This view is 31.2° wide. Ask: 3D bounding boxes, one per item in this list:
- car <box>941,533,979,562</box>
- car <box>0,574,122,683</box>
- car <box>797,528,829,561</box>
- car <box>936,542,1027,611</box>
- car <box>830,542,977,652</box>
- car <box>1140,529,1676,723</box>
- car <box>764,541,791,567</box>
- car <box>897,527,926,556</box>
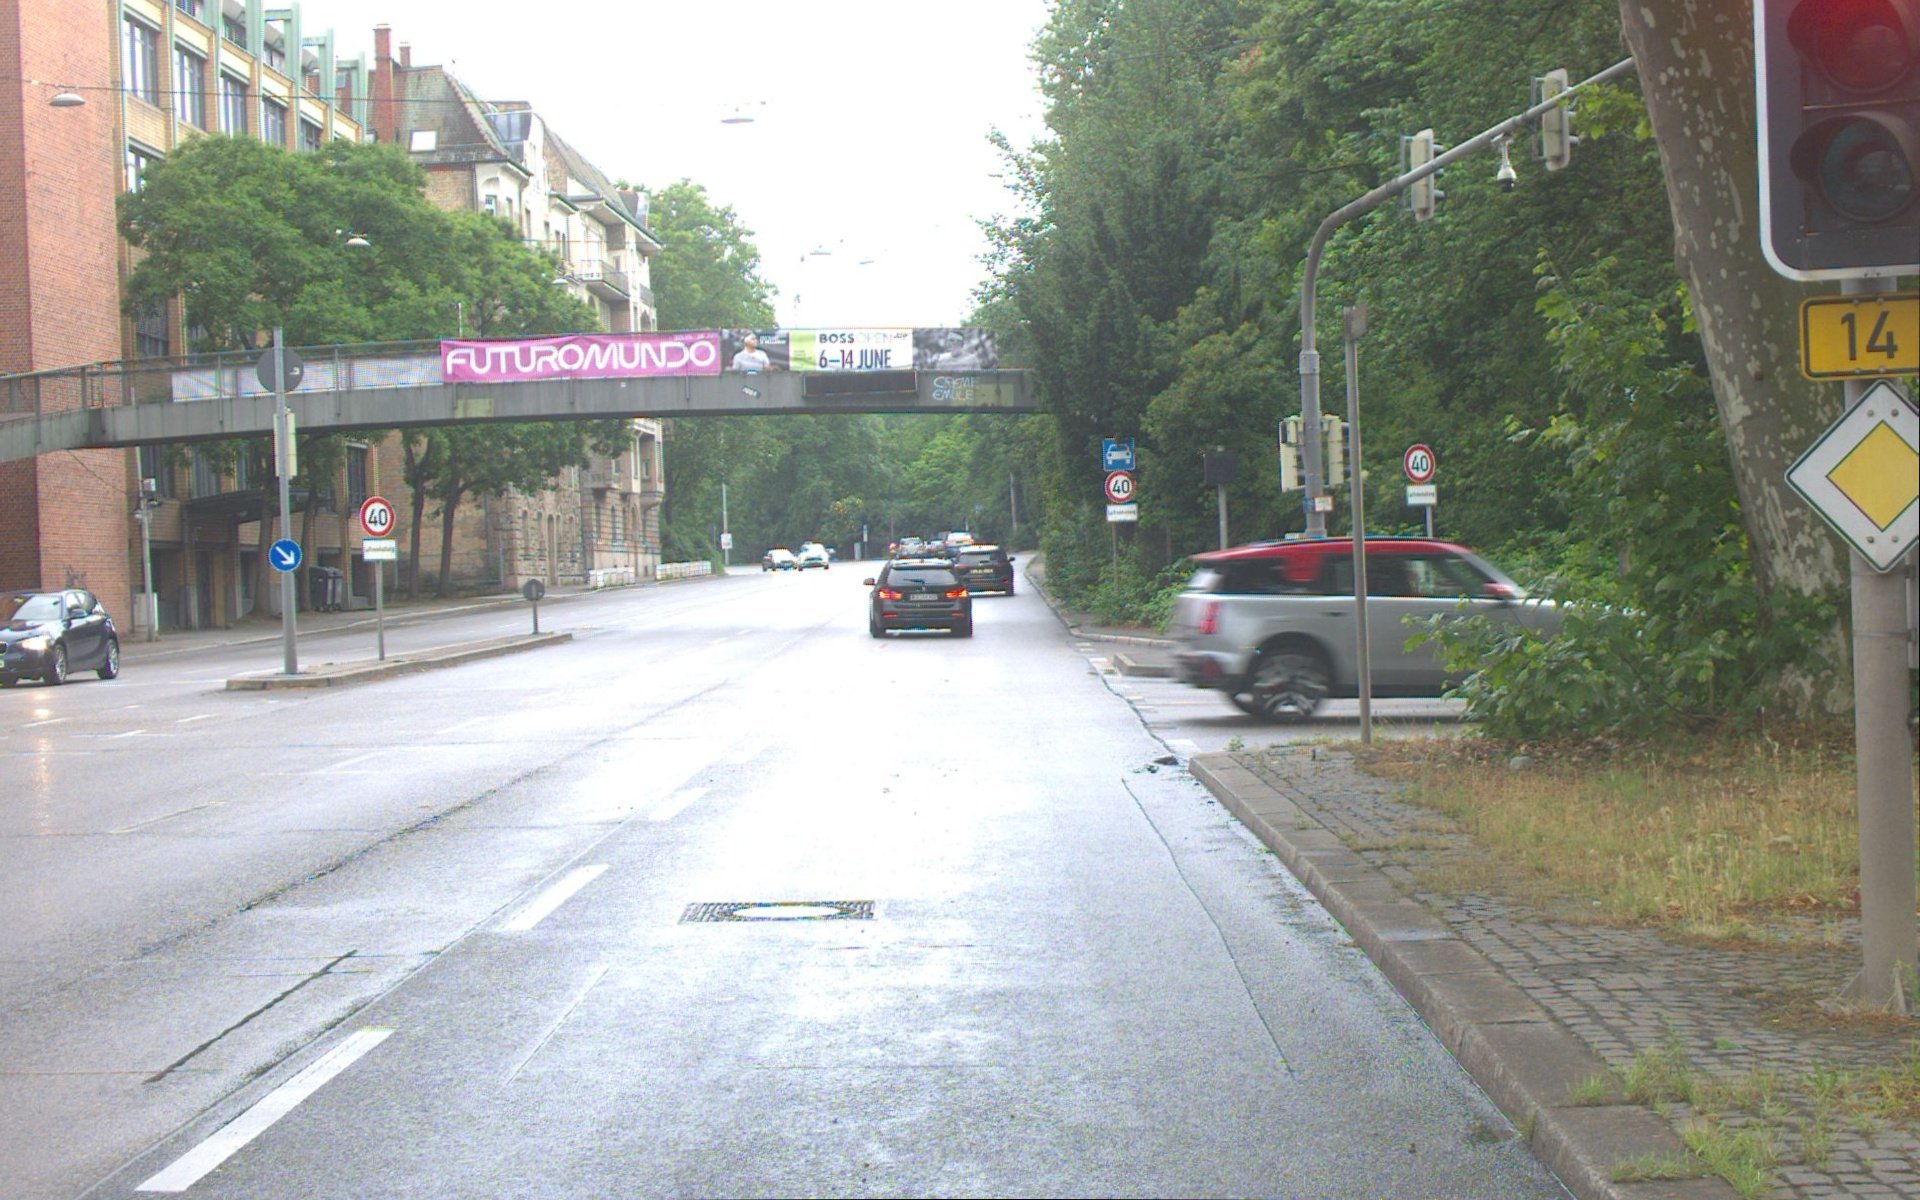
[{"bbox_3d":[-0.004,-3.194,208.439,2.120,1.729,4.199,0,2,-3],"label":"car"},{"bbox_3d":[-13.883,0.408,50.797,1.993,1.514,4.000,-2,1,0],"label":"car"},{"bbox_3d":[-9.177,-3.459,214.564,1.763,1.919,3.706,-3,0,-1],"label":"car"},{"bbox_3d":[0.599,-0.676,98.875,2.128,1.829,4.354,-3,1,-5],"label":"car"},{"bbox_3d":[-1.089,-0.057,63.212,2.128,1.829,4.354,-4,1,-7],"label":"car"},{"bbox_3d":[4.002,0.209,31.166,4.510,1.632,1.881,-1,1,-4],"label":"car"},{"bbox_3d":[-12.528,-3.172,236.390,1.619,1.691,3.549,-3,1,-1],"label":"car"},{"bbox_3d":[-3.119,-3.793,223.450,1.763,1.691,3.706,-3,1,-1],"label":"car"}]
